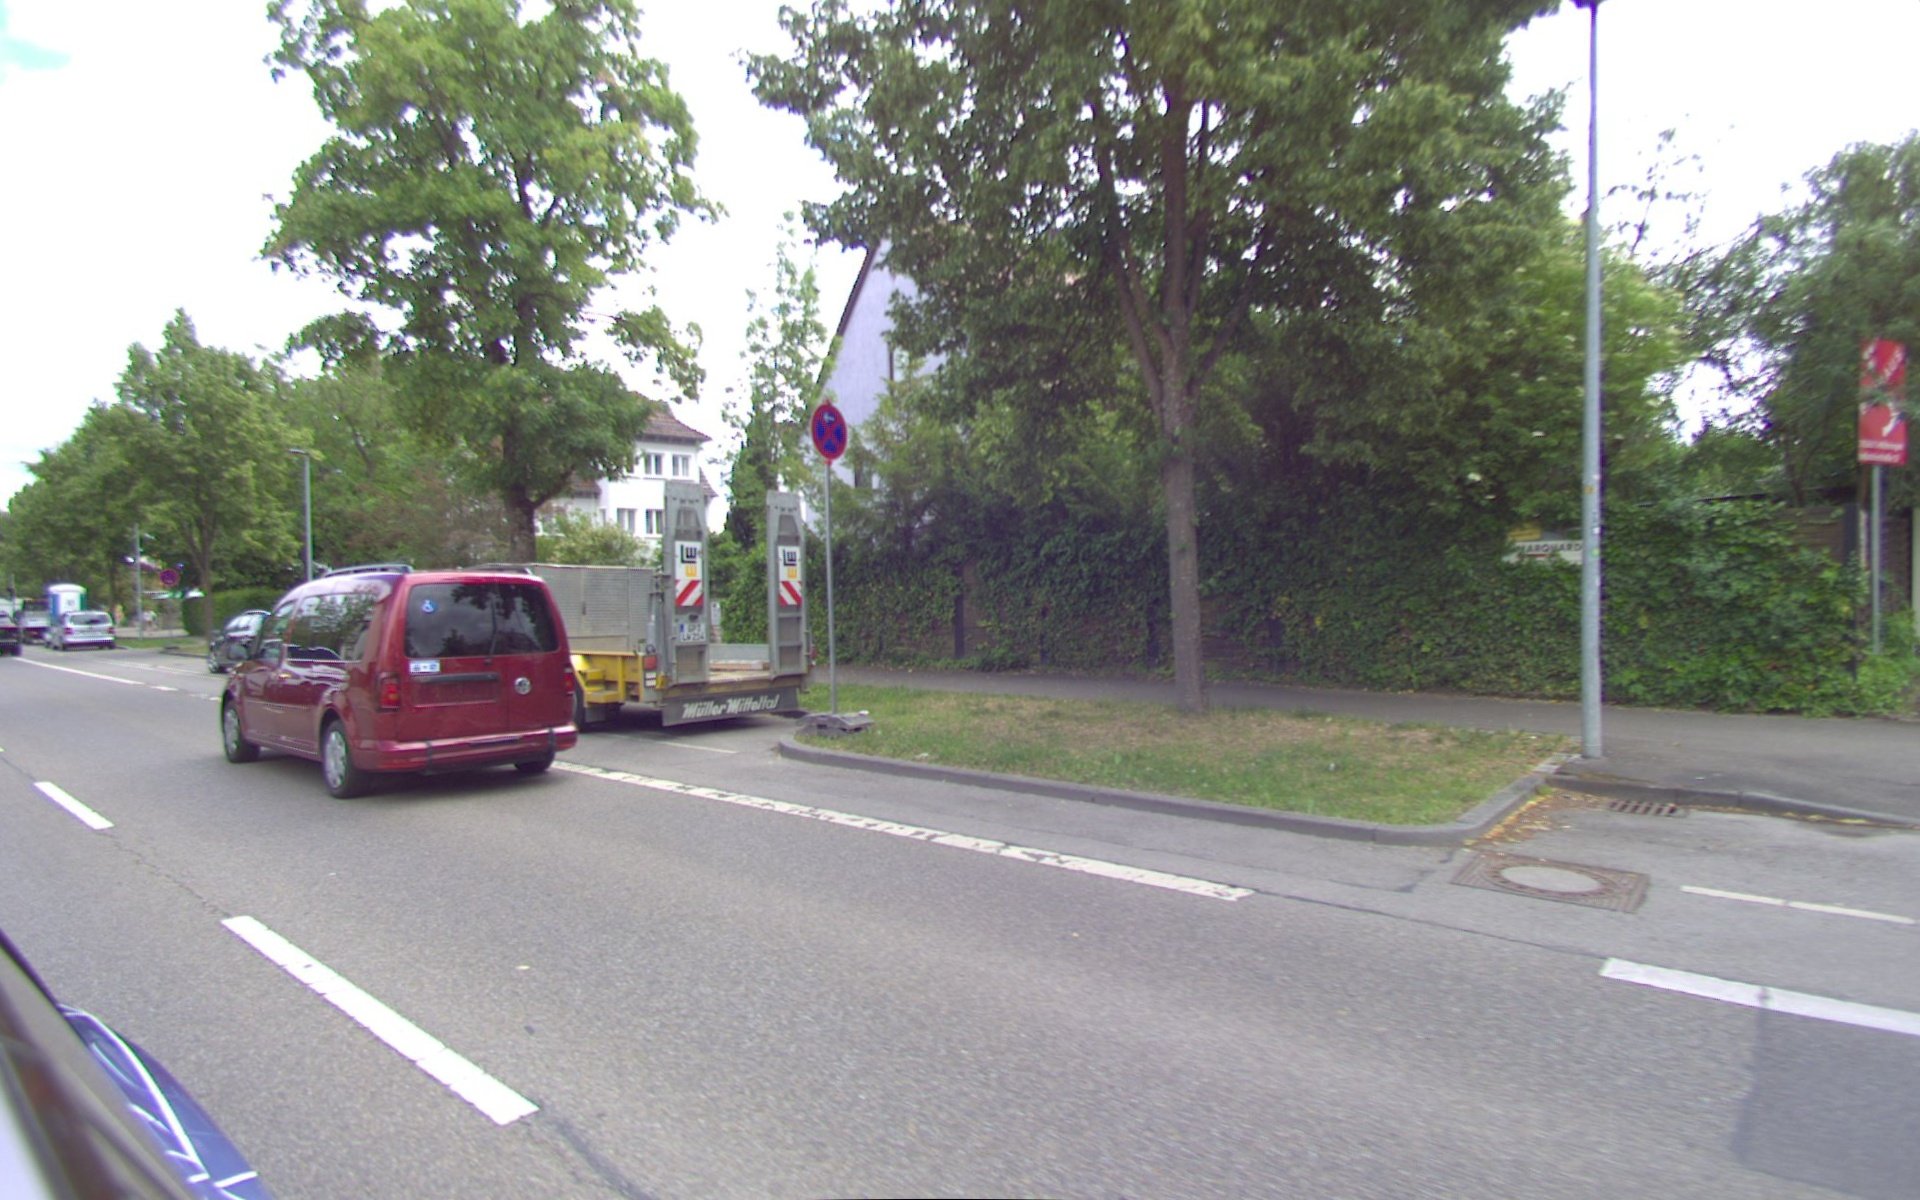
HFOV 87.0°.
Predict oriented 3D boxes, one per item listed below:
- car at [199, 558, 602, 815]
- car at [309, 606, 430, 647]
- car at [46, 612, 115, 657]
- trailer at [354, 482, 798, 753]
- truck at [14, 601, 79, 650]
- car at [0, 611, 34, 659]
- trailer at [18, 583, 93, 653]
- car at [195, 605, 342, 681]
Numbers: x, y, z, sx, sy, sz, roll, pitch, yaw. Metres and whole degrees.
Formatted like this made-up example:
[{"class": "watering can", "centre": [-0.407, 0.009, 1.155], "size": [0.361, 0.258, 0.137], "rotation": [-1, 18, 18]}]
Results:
[{"class": "car", "centre": [-5.369, 0.644, 9.391], "size": [4.766, 1.817, 1.742], "rotation": [-1, -1, 41]}, {"class": "car", "centre": [-24.339, 1.065, 41.755], "size": [4.029, 1.444, 1.803], "rotation": [-3, 1, -41]}, {"class": "car", "centre": [-36.462, 1.378, 41.942], "size": [4.225, 1.696, 1.671], "rotation": [0, 1, 42]}, {"class": "trailer", "centre": [-5.808, 0.179, 14.518], "size": [7.470, 2.963, 2.647], "rotation": [0, 1, 40]}, {"class": "truck", "centre": [-46.174, 1.251, 51.094], "size": [2.268, 2.304, 6.468], "rotation": [0, -1, -44]}, {"class": "car", "centre": [-35.406, 1.263, 36.905], "size": [4.588, 1.680, 1.972], "rotation": [-1, -2, 42]}, {"class": "trailer", "centre": [-41.452, 0.796, 46.305], "size": [2.344, 2.985, 7.016], "rotation": [0, -1, -44]}, {"class": "car", "centre": [-16.742, 0.951, 24.409], "size": [4.618, 1.564, 1.841], "rotation": [1, 2, 41]}]
